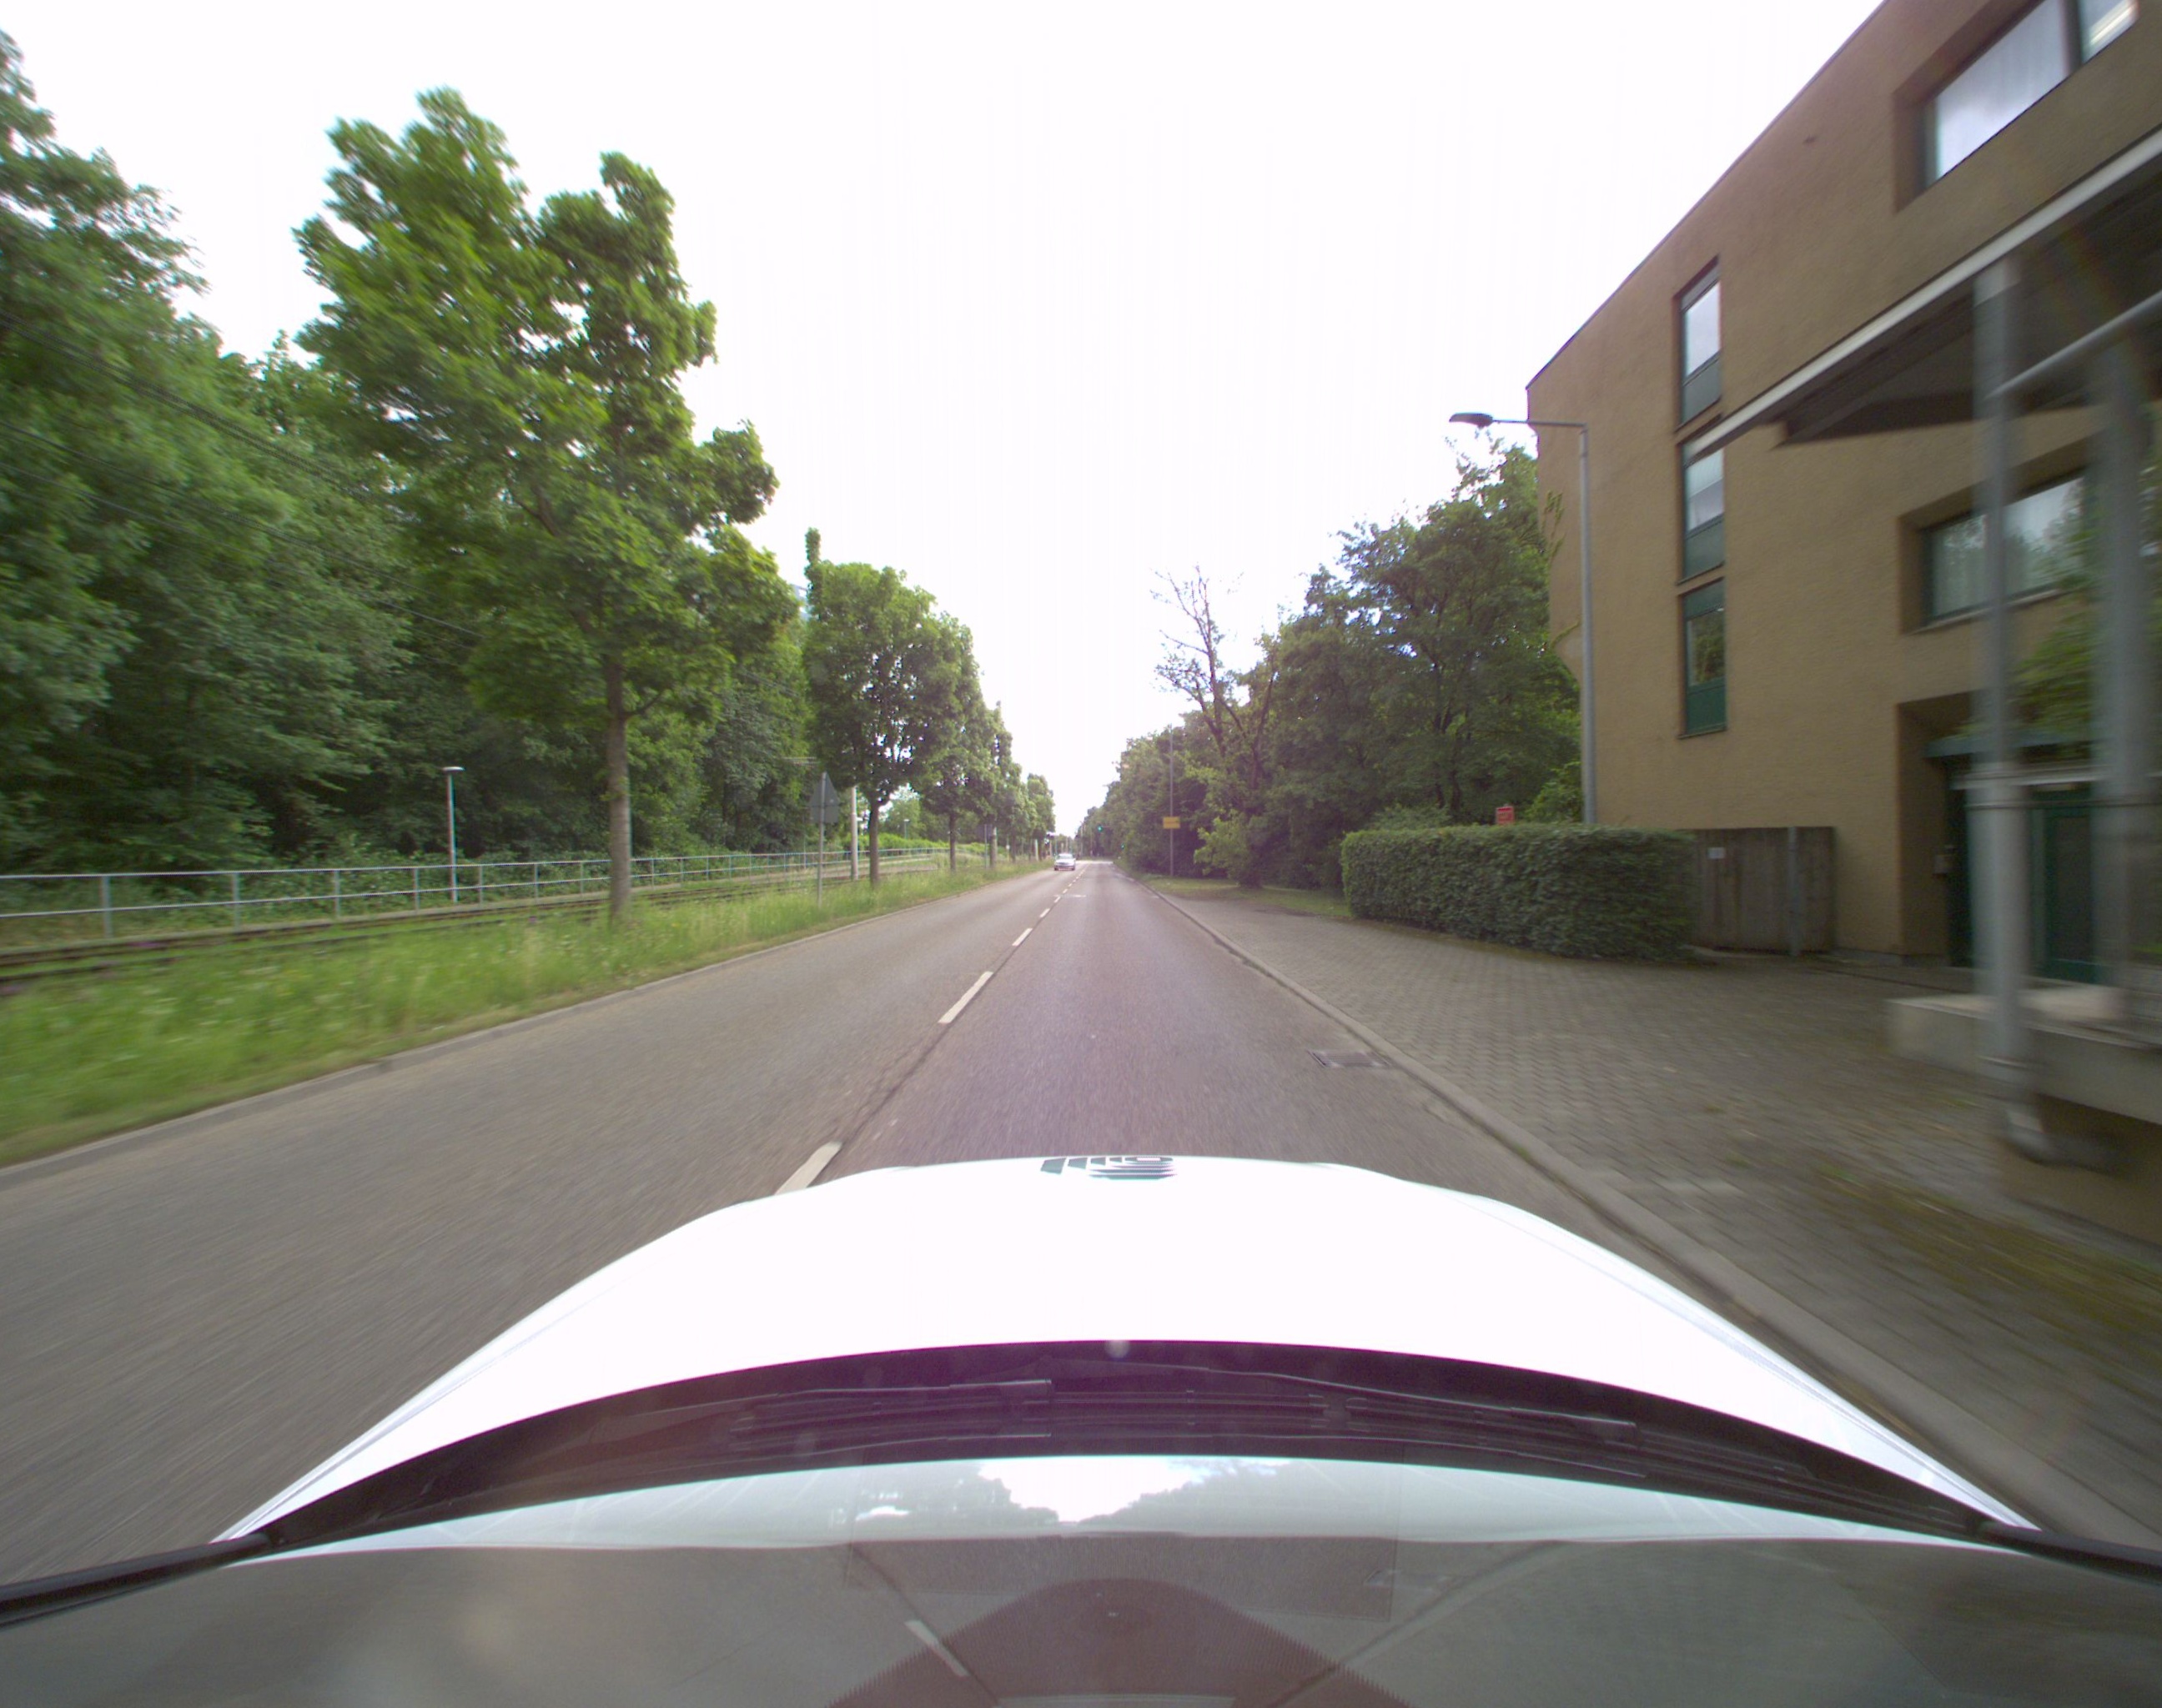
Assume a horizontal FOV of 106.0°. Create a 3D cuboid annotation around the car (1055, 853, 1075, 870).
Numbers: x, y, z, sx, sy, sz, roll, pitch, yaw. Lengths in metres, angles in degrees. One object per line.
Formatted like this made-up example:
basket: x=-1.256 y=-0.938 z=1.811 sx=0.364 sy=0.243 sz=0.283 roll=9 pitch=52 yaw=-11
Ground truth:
car: x=-1.411 y=0.618 z=72.373 sx=1.769 sy=1.469 sz=4.240 roll=0 pitch=0 yaw=-1
